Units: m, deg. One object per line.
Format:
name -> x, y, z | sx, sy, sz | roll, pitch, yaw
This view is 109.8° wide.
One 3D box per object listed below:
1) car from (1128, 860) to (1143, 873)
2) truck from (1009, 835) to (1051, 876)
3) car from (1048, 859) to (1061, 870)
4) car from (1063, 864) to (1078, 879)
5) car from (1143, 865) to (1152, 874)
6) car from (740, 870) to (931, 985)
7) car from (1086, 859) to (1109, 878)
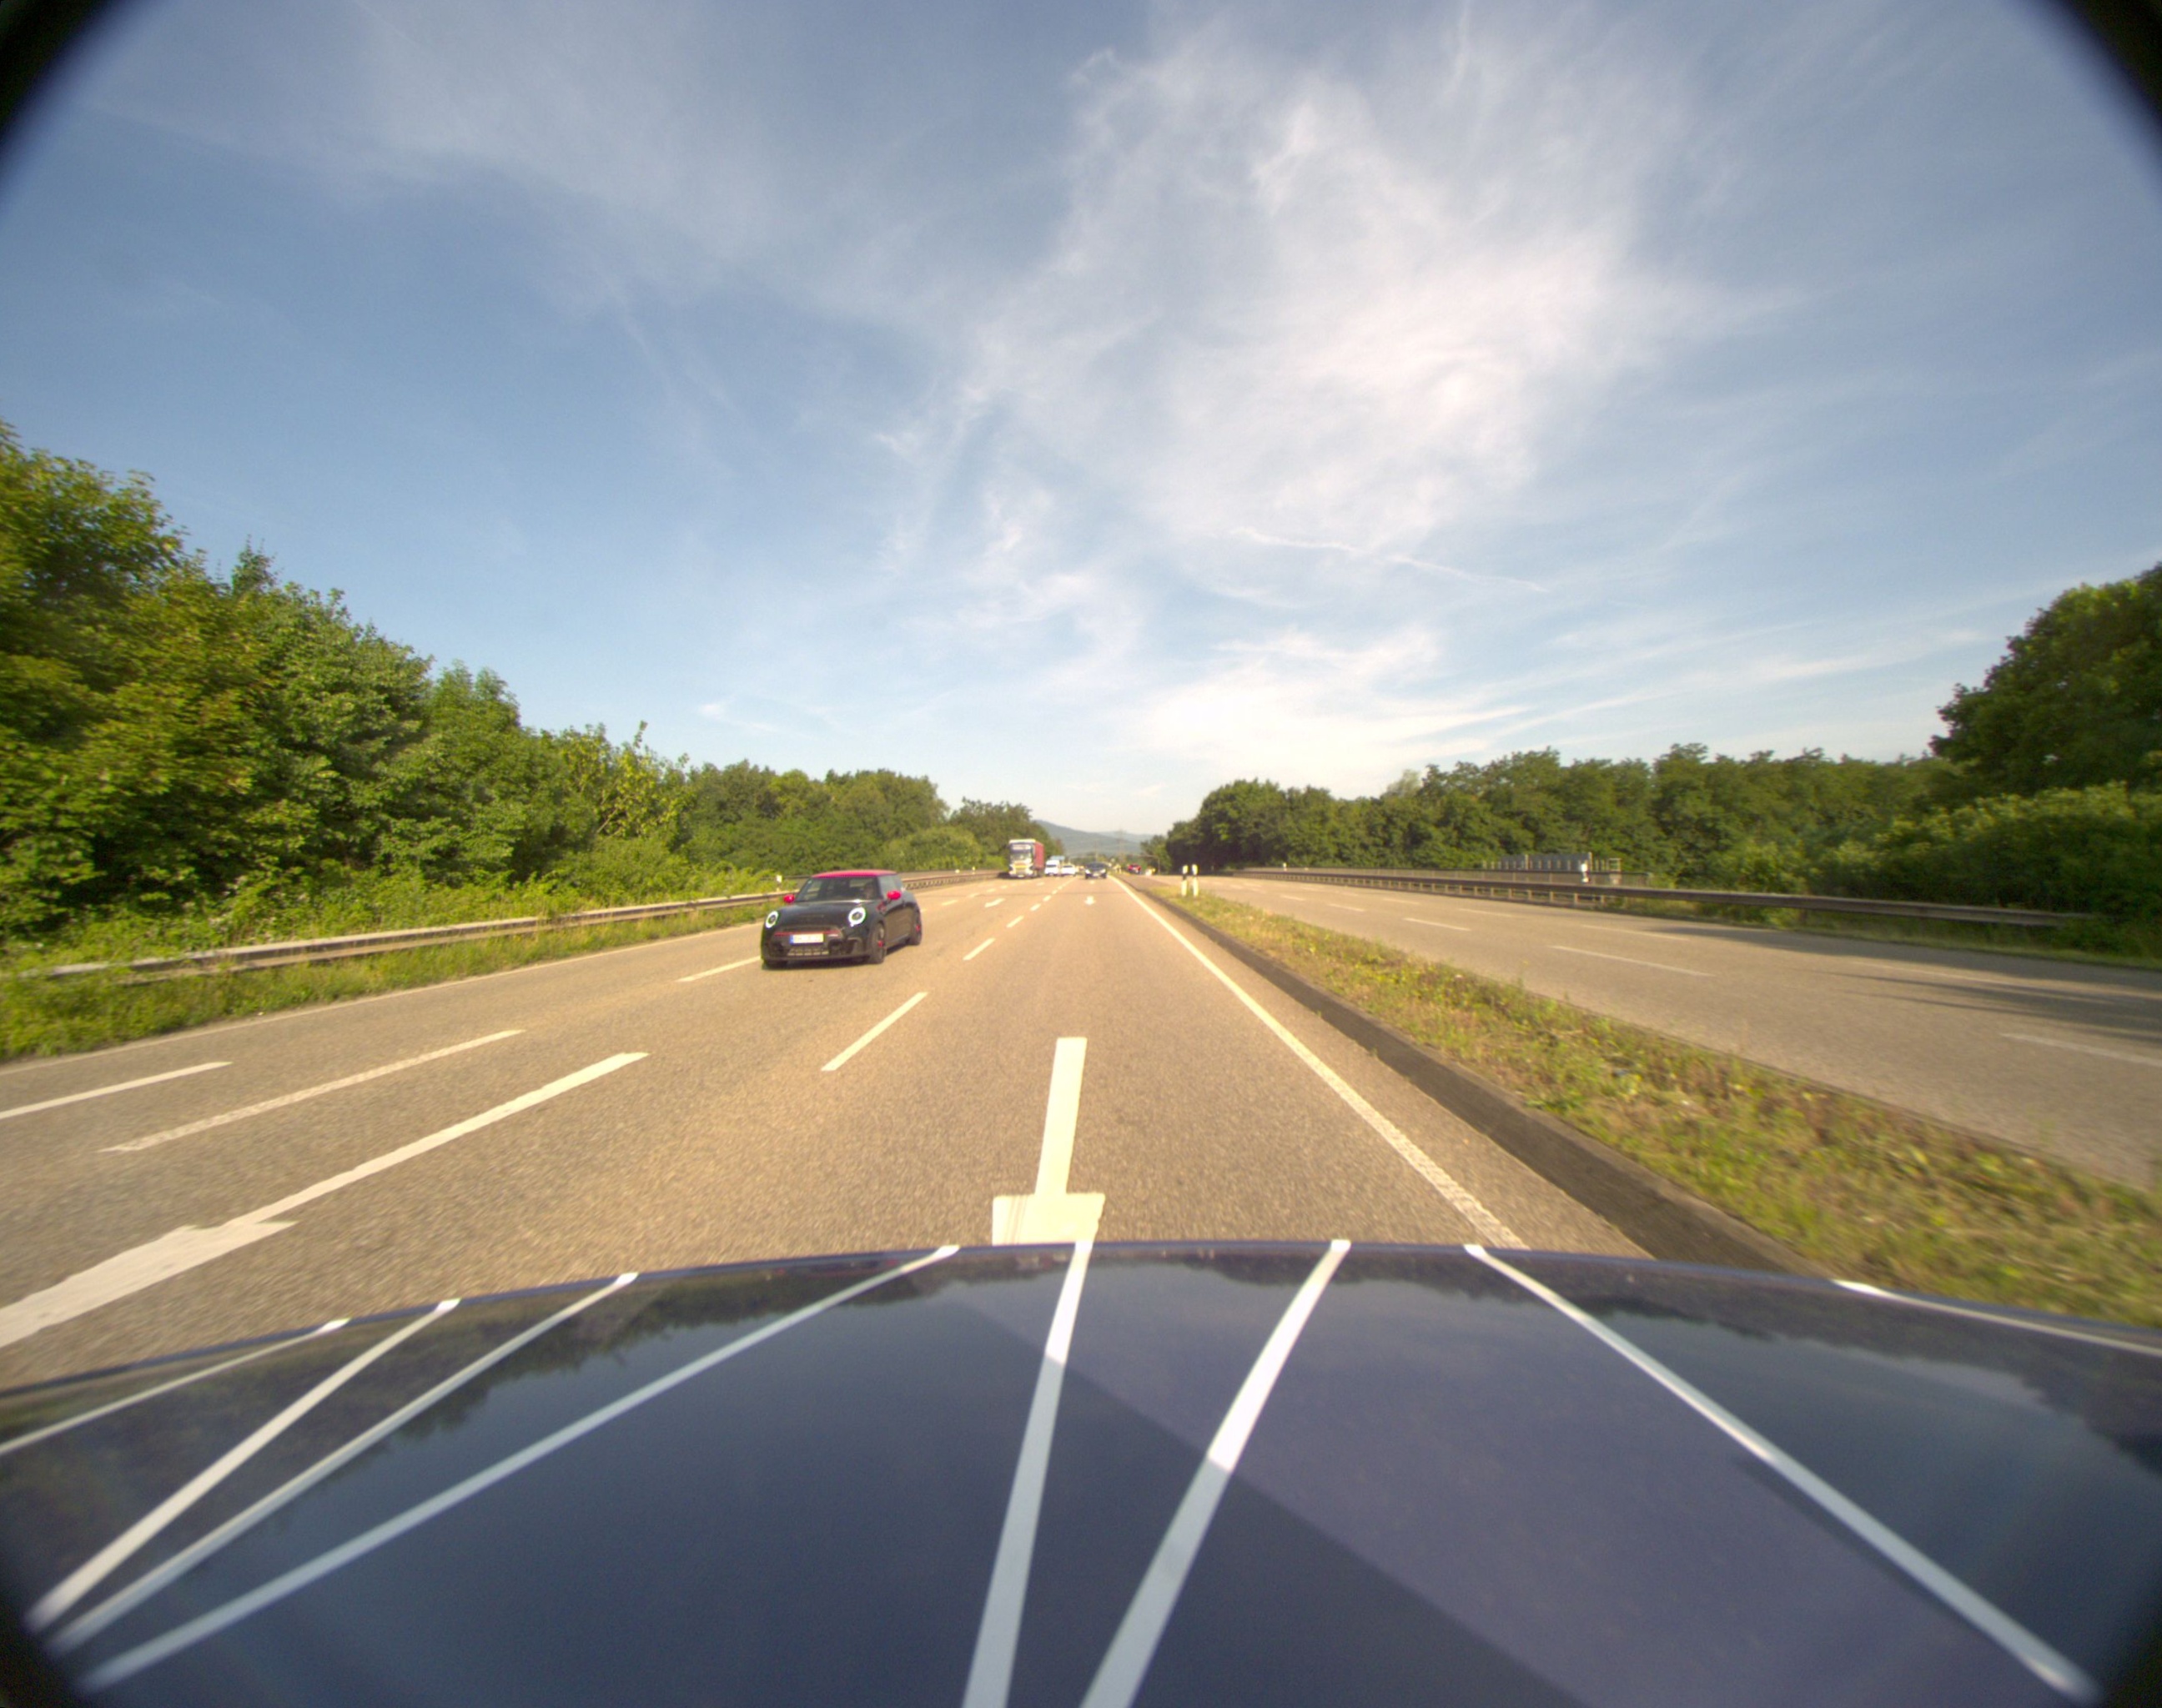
car -> 8.817, 1.974, 122.898 | 1.998, 1.818, 4.618 | -2, 1, 1
truck -> -5.365, 0.053, 82.964 | 3.196, 3.996, 14.563 | -2, 1, 1
car -> -4.161, 1.625, 120.213 | 1.875, 1.625, 4.833 | 0, 1, 0
car -> -1.270, 2.186, 95.368 | 1.875, 1.625, 4.833 | 0, 1, 0
car -> 16.466, 3.827, 187.731 | 1.919, 1.818, 4.420 | -2, 1, 1
car -> -3.867, 1.078, 12.714 | 1.824, 1.459, 3.872 | -2, 1, 1
car -> 1.412, 1.245, 65.278 | 1.861, 1.452, 4.569 | -2, 1, 1
